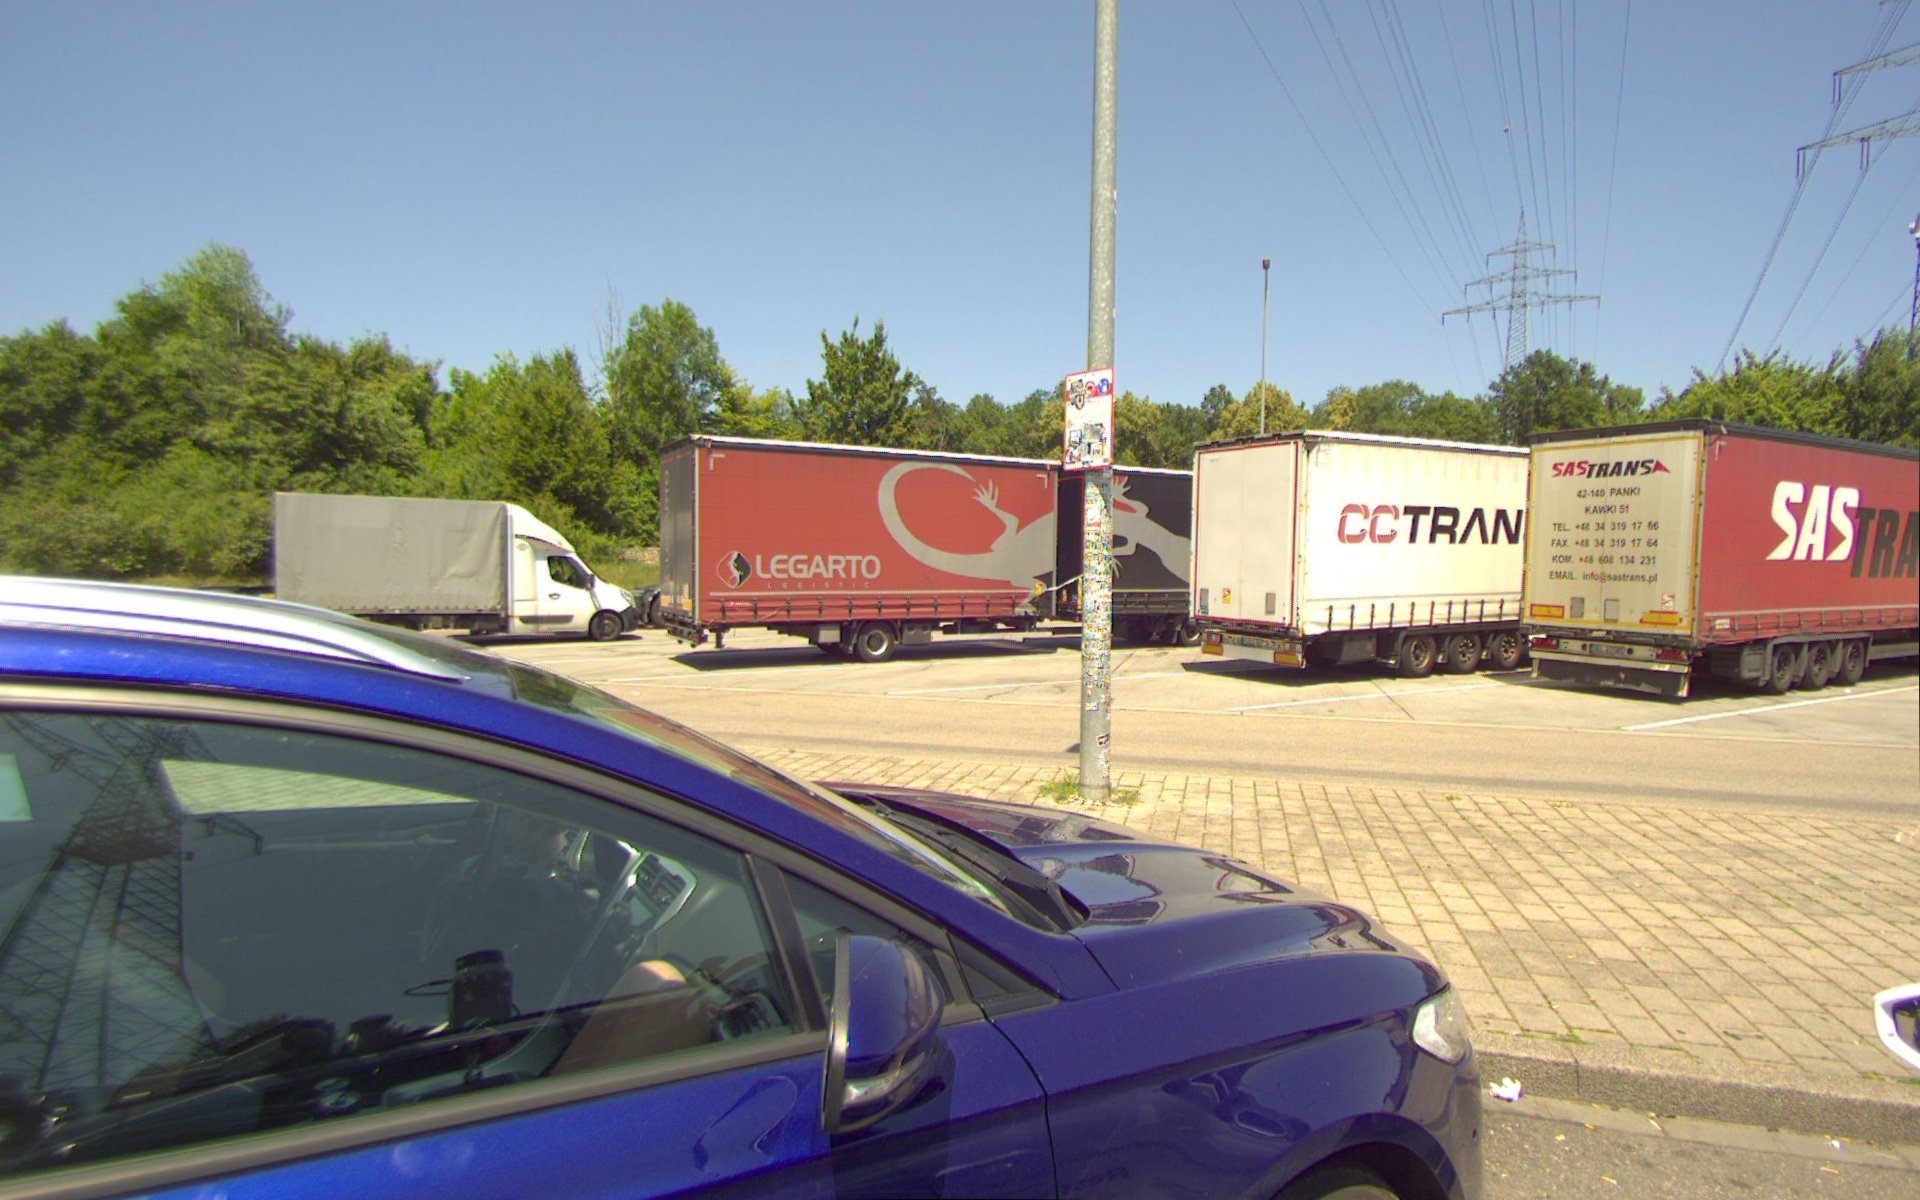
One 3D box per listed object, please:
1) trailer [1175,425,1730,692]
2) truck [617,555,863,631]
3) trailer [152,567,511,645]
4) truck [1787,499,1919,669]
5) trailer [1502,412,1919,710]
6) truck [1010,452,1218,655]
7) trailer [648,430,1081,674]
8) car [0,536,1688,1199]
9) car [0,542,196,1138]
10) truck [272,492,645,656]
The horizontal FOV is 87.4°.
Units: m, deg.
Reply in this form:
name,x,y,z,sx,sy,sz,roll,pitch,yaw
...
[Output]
name,x,y,z,sx,sy,sz,roll,pitch,yaw
trailer,10.589,-0.801,20.340,13.962,4.141,2.782,-1,3,-30
truck,-6.345,-0.228,29.277,6.733,2.041,1.987,-1,1,-26
trailer,-15.162,0.059,24.896,7.204,1.711,2.249,-1,3,-29
truck,21.211,-0.396,22.007,5.829,3.373,2.837,-1,3,-30
trailer,15.609,-0.694,18.729,13.962,4.141,2.777,-1,3,-30
truck,3.572,-1.066,23.453,3.947,4.298,2.723,-1,3,-30
trailer,-1.741,-0.900,20.332,8.376,4.141,2.722,-1,3,-30
car,-1.032,0.678,1.496,4.444,1.511,1.859,0,2,-32
car,-4.609,0.601,2.229,4.444,1.520,1.762,0,2,-32
truck,-11.187,-0.622,23.027,7.204,3.279,2.727,-1,3,-29
